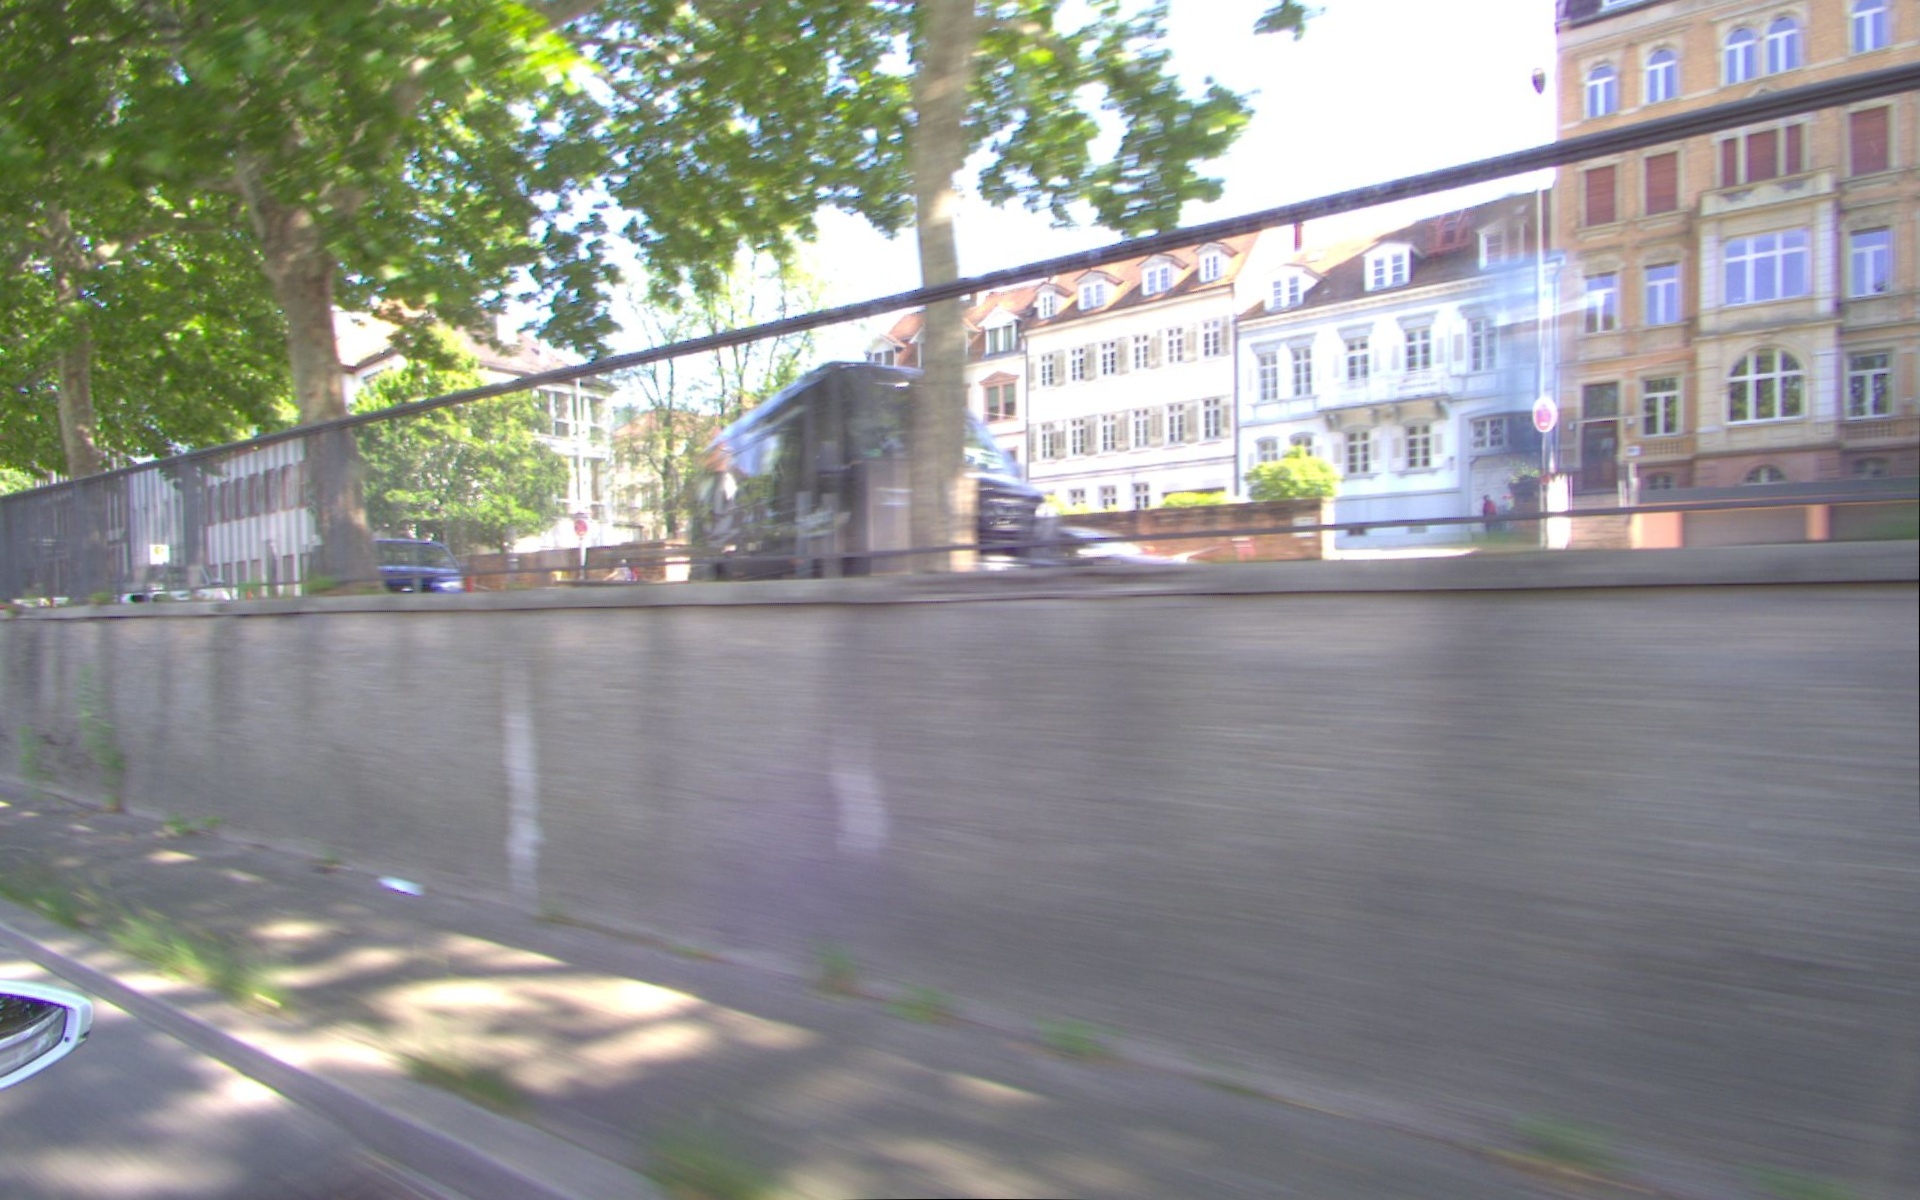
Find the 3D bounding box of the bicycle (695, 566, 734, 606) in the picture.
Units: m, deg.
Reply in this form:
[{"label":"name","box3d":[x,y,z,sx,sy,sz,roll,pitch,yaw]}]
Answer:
[{"label":"bicycle","box3d":[-6.730,-0.359,27.410,0.414,0.988,1.533,1,-3,-39]}]

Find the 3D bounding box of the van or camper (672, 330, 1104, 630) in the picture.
[{"label":"van or camper","box3d":[-1.419,-0.842,11.745,2.311,2.210,7.327,2,-3,-28]}]

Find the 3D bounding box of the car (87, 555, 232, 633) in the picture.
[{"label":"car","box3d":[-16.844,-0.078,21.269,1.754,1.488,3.981,0,-1,-29]}]

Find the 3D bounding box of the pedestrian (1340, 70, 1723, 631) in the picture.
[{"label":"pedestrian","box3d":[1.759,-0.651,3.144,0.935,1.444,0.678,0,3,32]}]

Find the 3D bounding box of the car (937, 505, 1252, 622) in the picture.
[{"label":"car","box3d":[1.962,-0.483,15.145,4.369,1.533,1.831,-1,2,35]}]

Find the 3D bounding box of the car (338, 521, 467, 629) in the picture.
[{"label":"car","box3d":[-9.078,-0.317,16.186,1.631,1.520,3.796,0,-1,-32]}]

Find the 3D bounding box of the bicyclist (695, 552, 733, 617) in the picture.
[{"label":"bicyclist","box3d":[-6.740,-0.398,27.428,0.696,1.704,0.838,1,-3,-40]}]
